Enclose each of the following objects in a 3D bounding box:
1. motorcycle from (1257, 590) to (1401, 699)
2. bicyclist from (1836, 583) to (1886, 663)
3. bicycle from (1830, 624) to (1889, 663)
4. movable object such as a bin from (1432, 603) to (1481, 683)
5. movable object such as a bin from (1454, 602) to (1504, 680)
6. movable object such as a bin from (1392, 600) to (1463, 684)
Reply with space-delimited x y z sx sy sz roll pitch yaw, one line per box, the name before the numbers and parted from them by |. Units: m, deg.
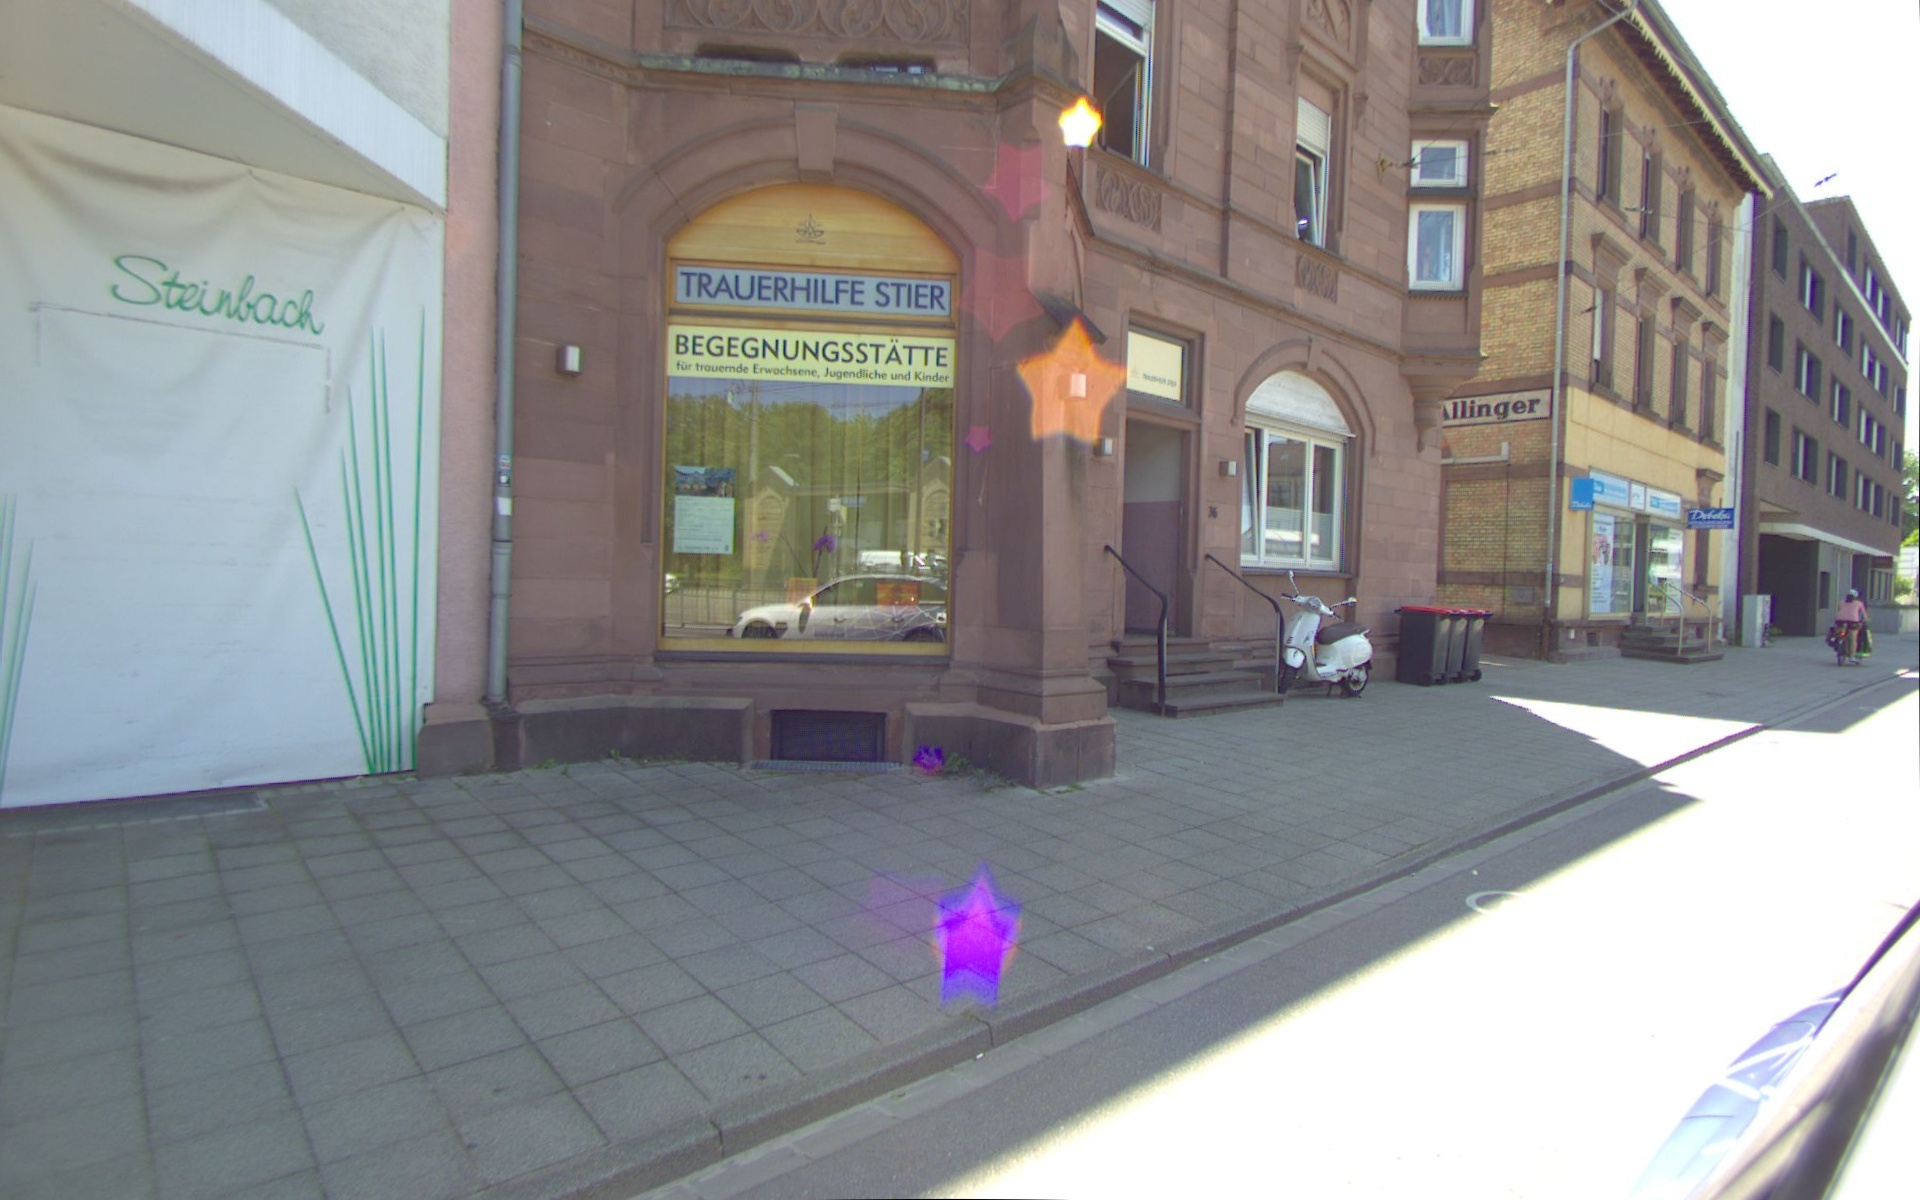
motorcycle | 4.259 0.488 11.616 1.843 1.163 0.529 1 1 -33
bicyclist | 20.482 0.510 23.006 0.912 1.744 0.671 1 1 -39
bicycle | 20.443 0.973 22.990 1.873 0.807 0.690 0 1 -39
movable object such as a bin | 6.927 0.587 14.117 0.549 1.061 0.376 1 3 -42
movable object such as a bin | 7.436 0.580 14.503 0.646 1.061 0.376 1 3 -42
movable object such as a bin | 6.397 0.559 13.857 0.549 1.061 0.649 1 4 -42
